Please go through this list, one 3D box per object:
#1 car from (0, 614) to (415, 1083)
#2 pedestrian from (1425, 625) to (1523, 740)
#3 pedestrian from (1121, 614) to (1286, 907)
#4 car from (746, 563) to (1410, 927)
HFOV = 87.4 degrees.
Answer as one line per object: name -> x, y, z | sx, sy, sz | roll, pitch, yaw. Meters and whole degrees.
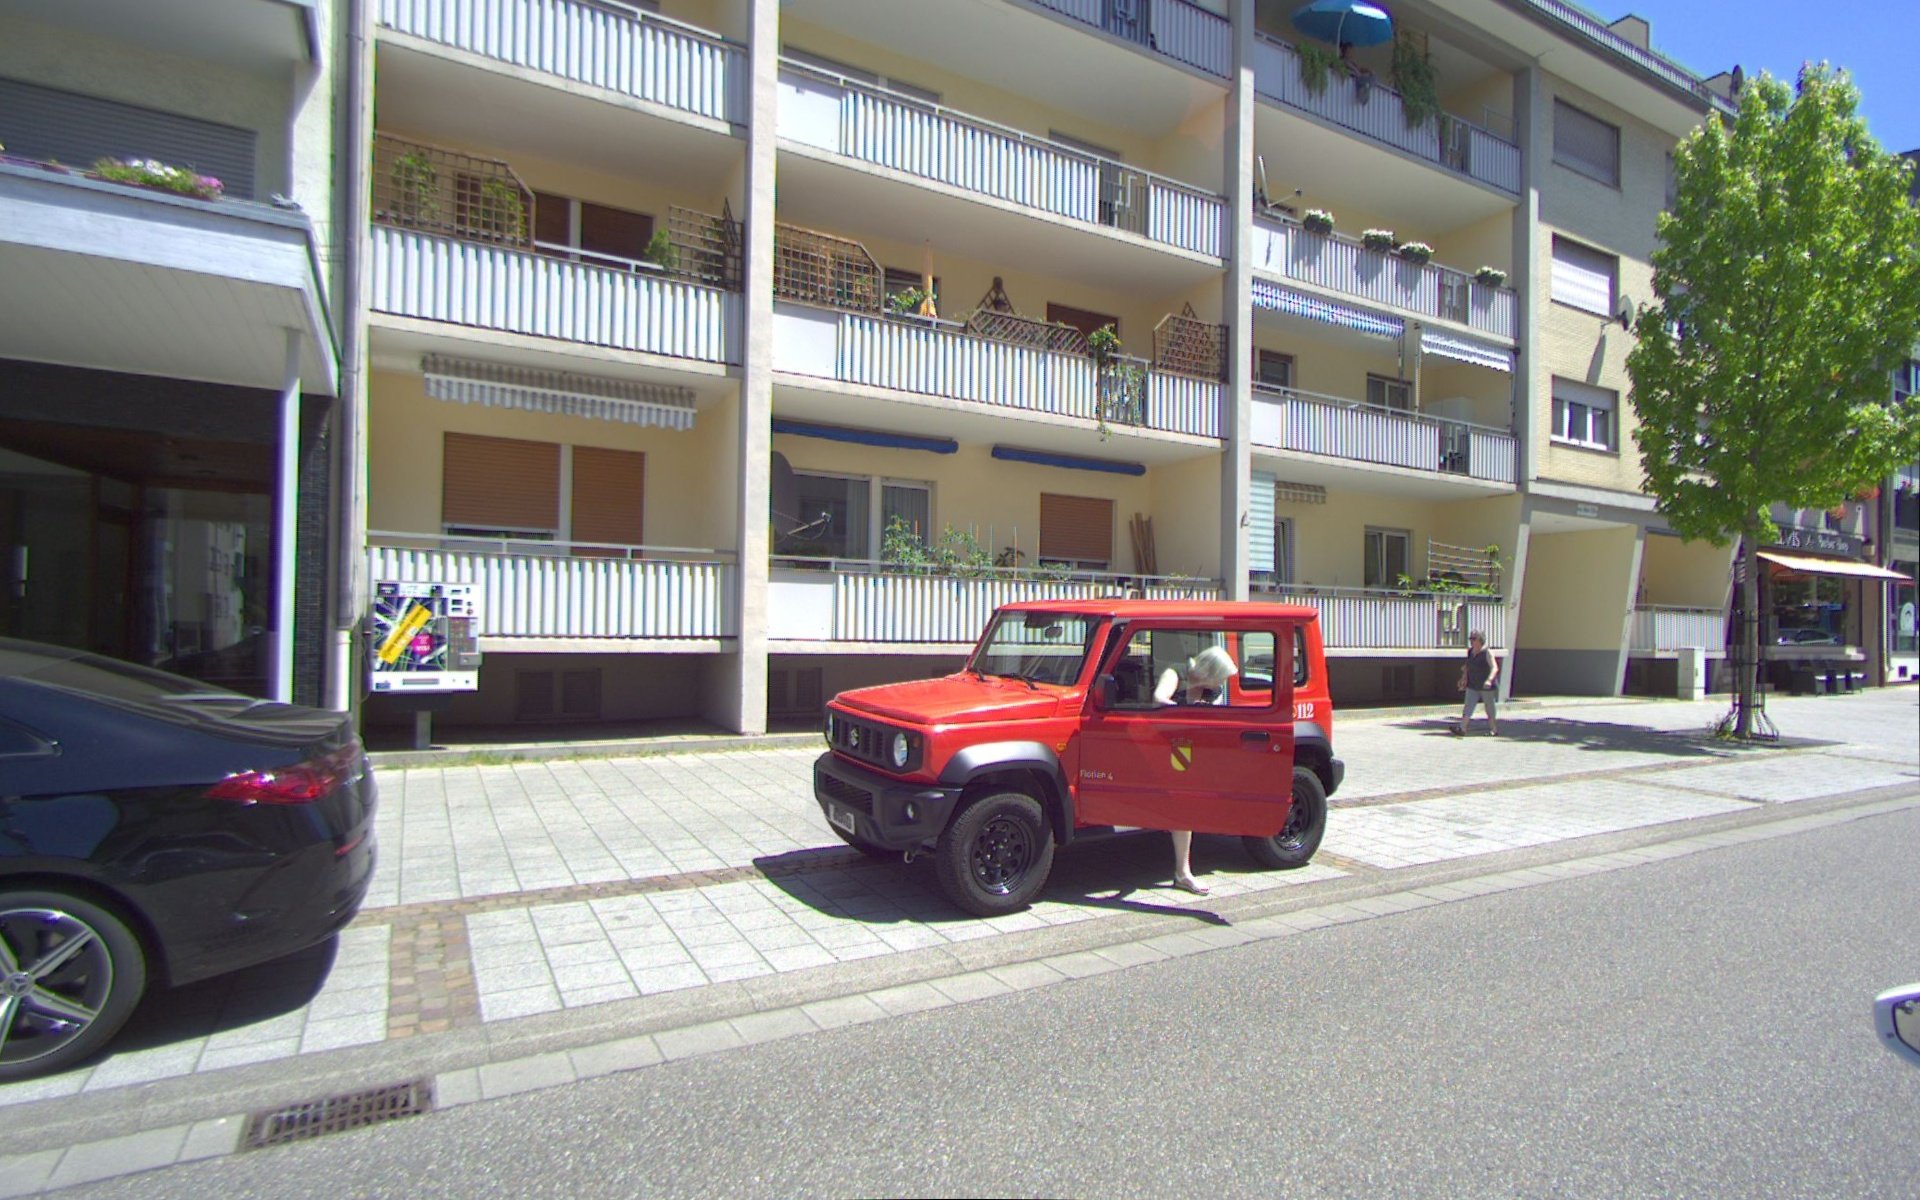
car -> -4.695, 0.783, 3.364 | 4.989, 1.436, 1.887 | 2, 1, -31
pedestrian -> 7.195, 1.129, 14.058 | 1.084, 1.512, 0.694 | 1, 2, -30
pedestrian -> 1.426, 0.862, 5.846 | 0.715, 1.554, 0.726 | 0, -1, 36
car -> 0.855, 0.719, 6.550 | 4.053, 1.725, 1.744 | 2, 1, -30
